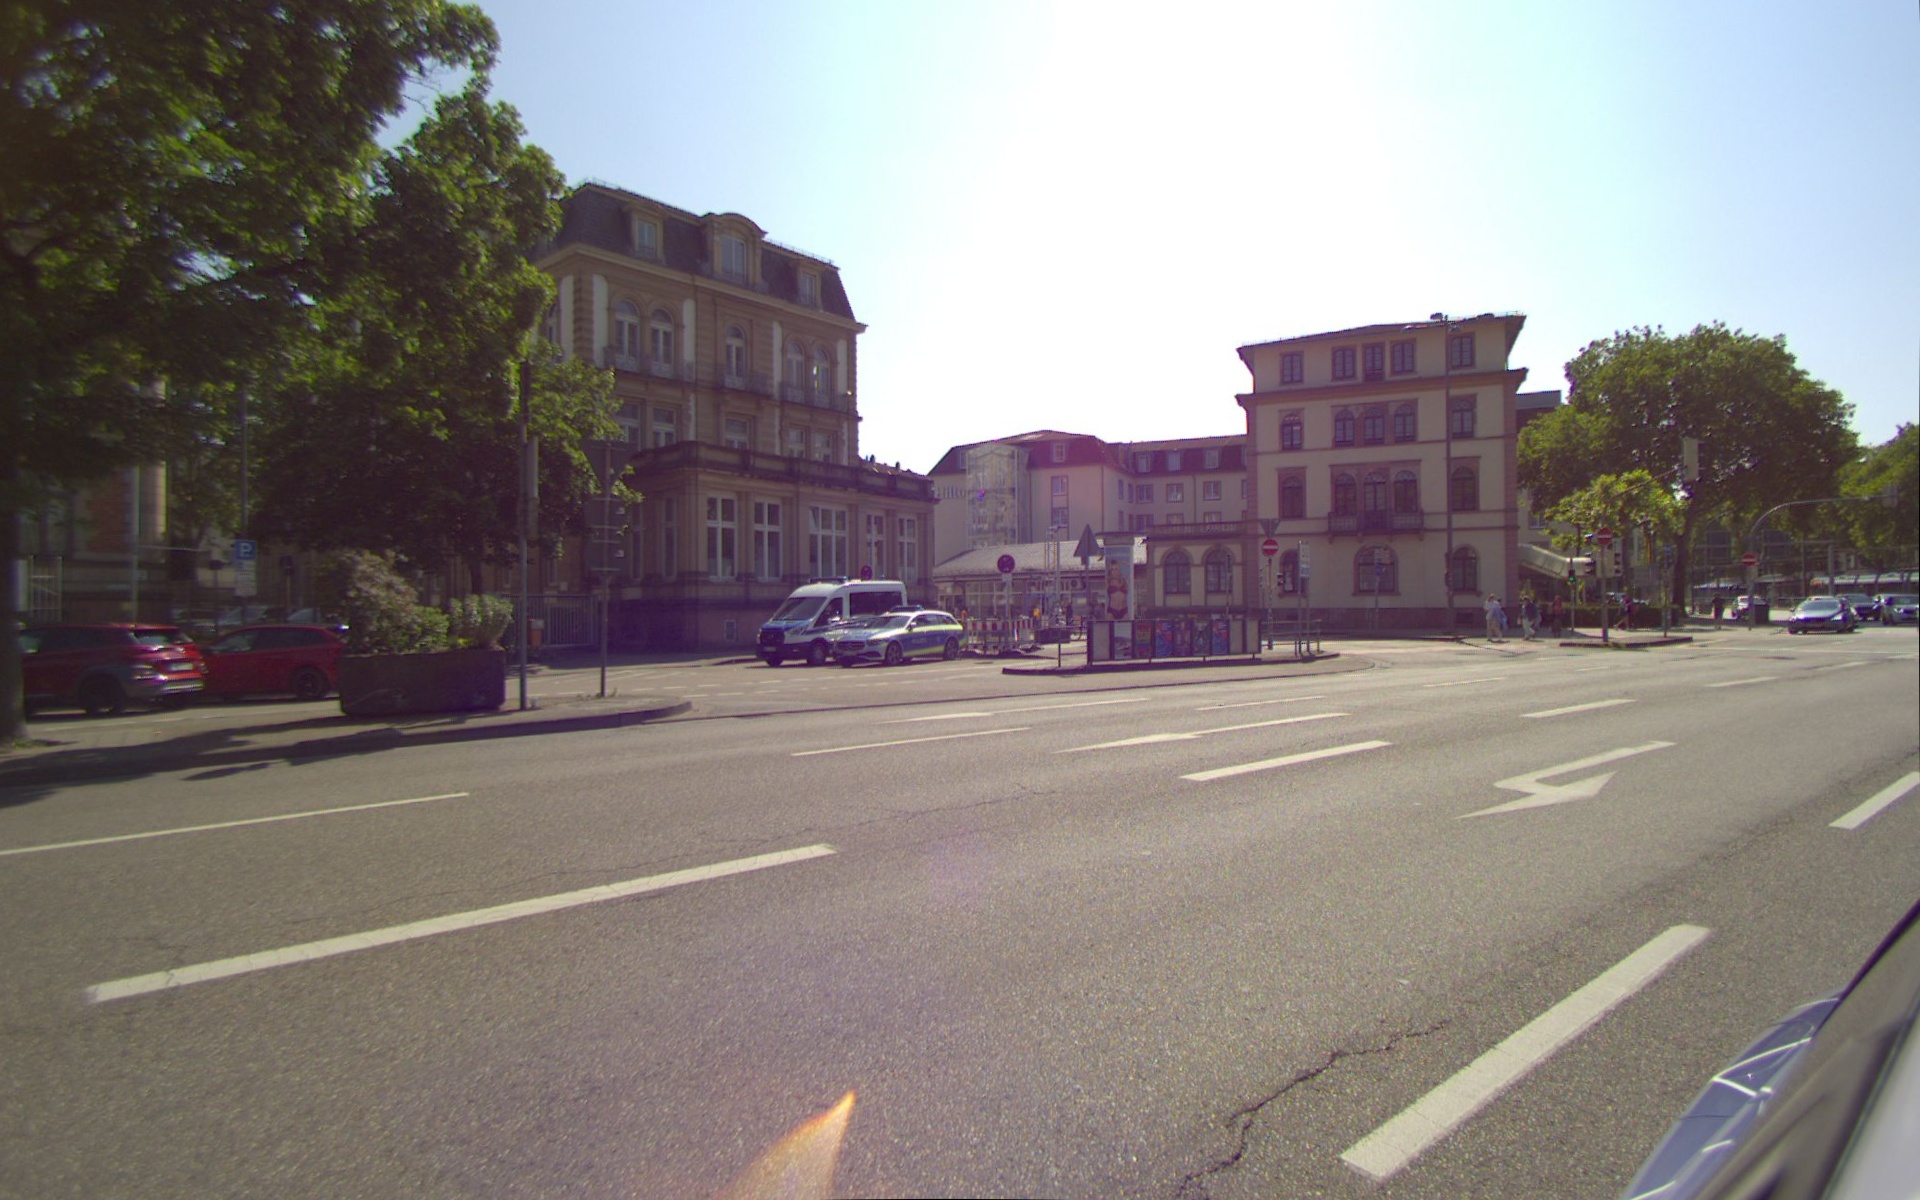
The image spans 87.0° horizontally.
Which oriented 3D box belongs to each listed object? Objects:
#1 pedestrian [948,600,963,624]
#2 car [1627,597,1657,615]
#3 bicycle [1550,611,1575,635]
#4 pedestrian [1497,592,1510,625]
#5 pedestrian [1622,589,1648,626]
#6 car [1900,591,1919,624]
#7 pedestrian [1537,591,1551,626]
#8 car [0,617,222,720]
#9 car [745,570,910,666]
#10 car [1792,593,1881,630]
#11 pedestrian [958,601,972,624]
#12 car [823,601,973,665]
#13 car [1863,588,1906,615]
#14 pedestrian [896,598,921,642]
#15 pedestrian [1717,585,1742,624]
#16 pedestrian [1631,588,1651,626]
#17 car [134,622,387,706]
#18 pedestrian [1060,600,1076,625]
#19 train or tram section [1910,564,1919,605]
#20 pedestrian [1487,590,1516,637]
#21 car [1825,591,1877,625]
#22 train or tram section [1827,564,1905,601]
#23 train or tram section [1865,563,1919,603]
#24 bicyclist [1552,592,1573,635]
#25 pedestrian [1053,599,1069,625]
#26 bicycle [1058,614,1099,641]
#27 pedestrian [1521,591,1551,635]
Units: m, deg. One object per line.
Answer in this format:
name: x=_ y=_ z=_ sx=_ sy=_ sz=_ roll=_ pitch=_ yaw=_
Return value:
pedestrian: x=-0.323 y=0.853 z=71.082 sx=0.705 sy=1.624 sz=0.724 roll=0 pitch=-1 yaw=-33
car: x=53.911 y=0.445 z=80.040 sx=1.576 sy=1.339 sz=3.543 roll=-1 pitch=0 yaw=29
bicycle: x=23.148 y=0.879 z=38.870 sx=0.590 sy=0.865 sz=1.721 roll=-1 pitch=-1 yaw=38
pedestrian: x=27.290 y=0.419 z=50.846 sx=0.530 sy=1.670 sz=0.668 roll=-1 pitch=-1 yaw=27
pedestrian: x=31.727 y=0.336 z=47.562 sx=0.834 sy=1.717 sz=0.739 roll=-1 pitch=-1 yaw=23
car: x=47.188 y=0.359 z=49.452 sx=1.786 sy=1.549 sz=3.913 roll=1 pitch=1 yaw=43
pedestrian: x=28.214 y=0.406 z=48.878 sx=0.530 sy=1.670 sz=0.574 roll=-1 pitch=-1 yaw=27
car: x=-15.015 y=1.126 z=17.088 sx=3.802 sy=1.595 sz=1.751 roll=-1 pitch=-1 yaw=-2
car: x=-3.872 y=0.489 z=30.584 sx=1.986 sy=2.637 sz=5.253 roll=-1 pitch=-1 yaw=34
car: x=36.302 y=0.443 z=41.882 sx=3.897 sy=1.470 sz=1.793 roll=0 pitch=1 yaw=-33
pedestrian: x=0.364 y=0.875 z=72.252 sx=0.705 sy=1.624 sz=0.724 roll=0 pitch=-1 yaw=-34
car: x=-1.667 y=0.889 z=29.177 sx=1.809 sy=1.647 sz=4.822 roll=-1 pitch=-1 yaw=33
car: x=53.225 y=0.065 z=58.304 sx=1.785 sy=1.470 sz=3.913 roll=1 pitch=1 yaw=42
pedestrian: x=-2.111 y=0.809 z=41.462 sx=0.698 sy=1.774 sz=0.712 roll=-1 pitch=-1 yaw=37
pedestrian: x=37.220 y=0.197 z=48.947 sx=0.715 sy=1.869 sz=0.591 roll=-1 pitch=-1 yaw=2
pedestrian: x=32.641 y=0.325 z=48.505 sx=0.720 sy=1.828 sz=0.645 roll=-1 pitch=-1 yaw=31
car: x=-13.301 y=1.190 z=19.419 sx=3.628 sy=1.436 sz=1.750 roll=-1 pitch=-1 yaw=-2
pedestrian: x=6.905 y=0.795 z=64.580 sx=0.707 sy=1.624 sz=0.723 roll=0 pitch=-1 yaw=-42
train or tram section: x=78.633 y=-1.288 z=79.623 sx=2.704 sy=3.309 sz=8.668 roll=-1 pitch=0 yaw=23
pedestrian: x=20.025 y=0.494 z=37.442 sx=0.751 sy=1.680 sz=0.816 roll=-1 pitch=-1 yaw=43
car: x=42.686 y=0.353 z=48.470 sx=1.786 sy=1.549 sz=3.913 roll=1 pitch=1 yaw=43
train or tram section: x=85.413 y=-1.573 z=95.597 sx=2.704 sy=3.309 sz=8.668 roll=-1 pitch=0 yaw=23
train or tram section: x=82.011 y=-1.431 z=87.616 sx=2.704 sy=3.309 sz=8.668 roll=-1 pitch=0 yaw=23
bicyclist: x=23.117 y=0.507 z=38.838 sx=0.590 sy=1.627 sz=0.675 roll=-1 pitch=-1 yaw=38
pedestrian: x=6.418 y=0.784 z=64.133 sx=0.707 sy=1.624 sz=0.723 roll=0 pitch=-1 yaw=-42
bicycle: x=5.213 y=1.198 z=44.602 sx=1.813 sy=1.113 sz=0.497 roll=0 pitch=0 yaw=43
pedestrian: x=21.176 y=0.474 z=37.191 sx=0.771 sy=1.592 sz=0.816 roll=-1 pitch=-1 yaw=44
